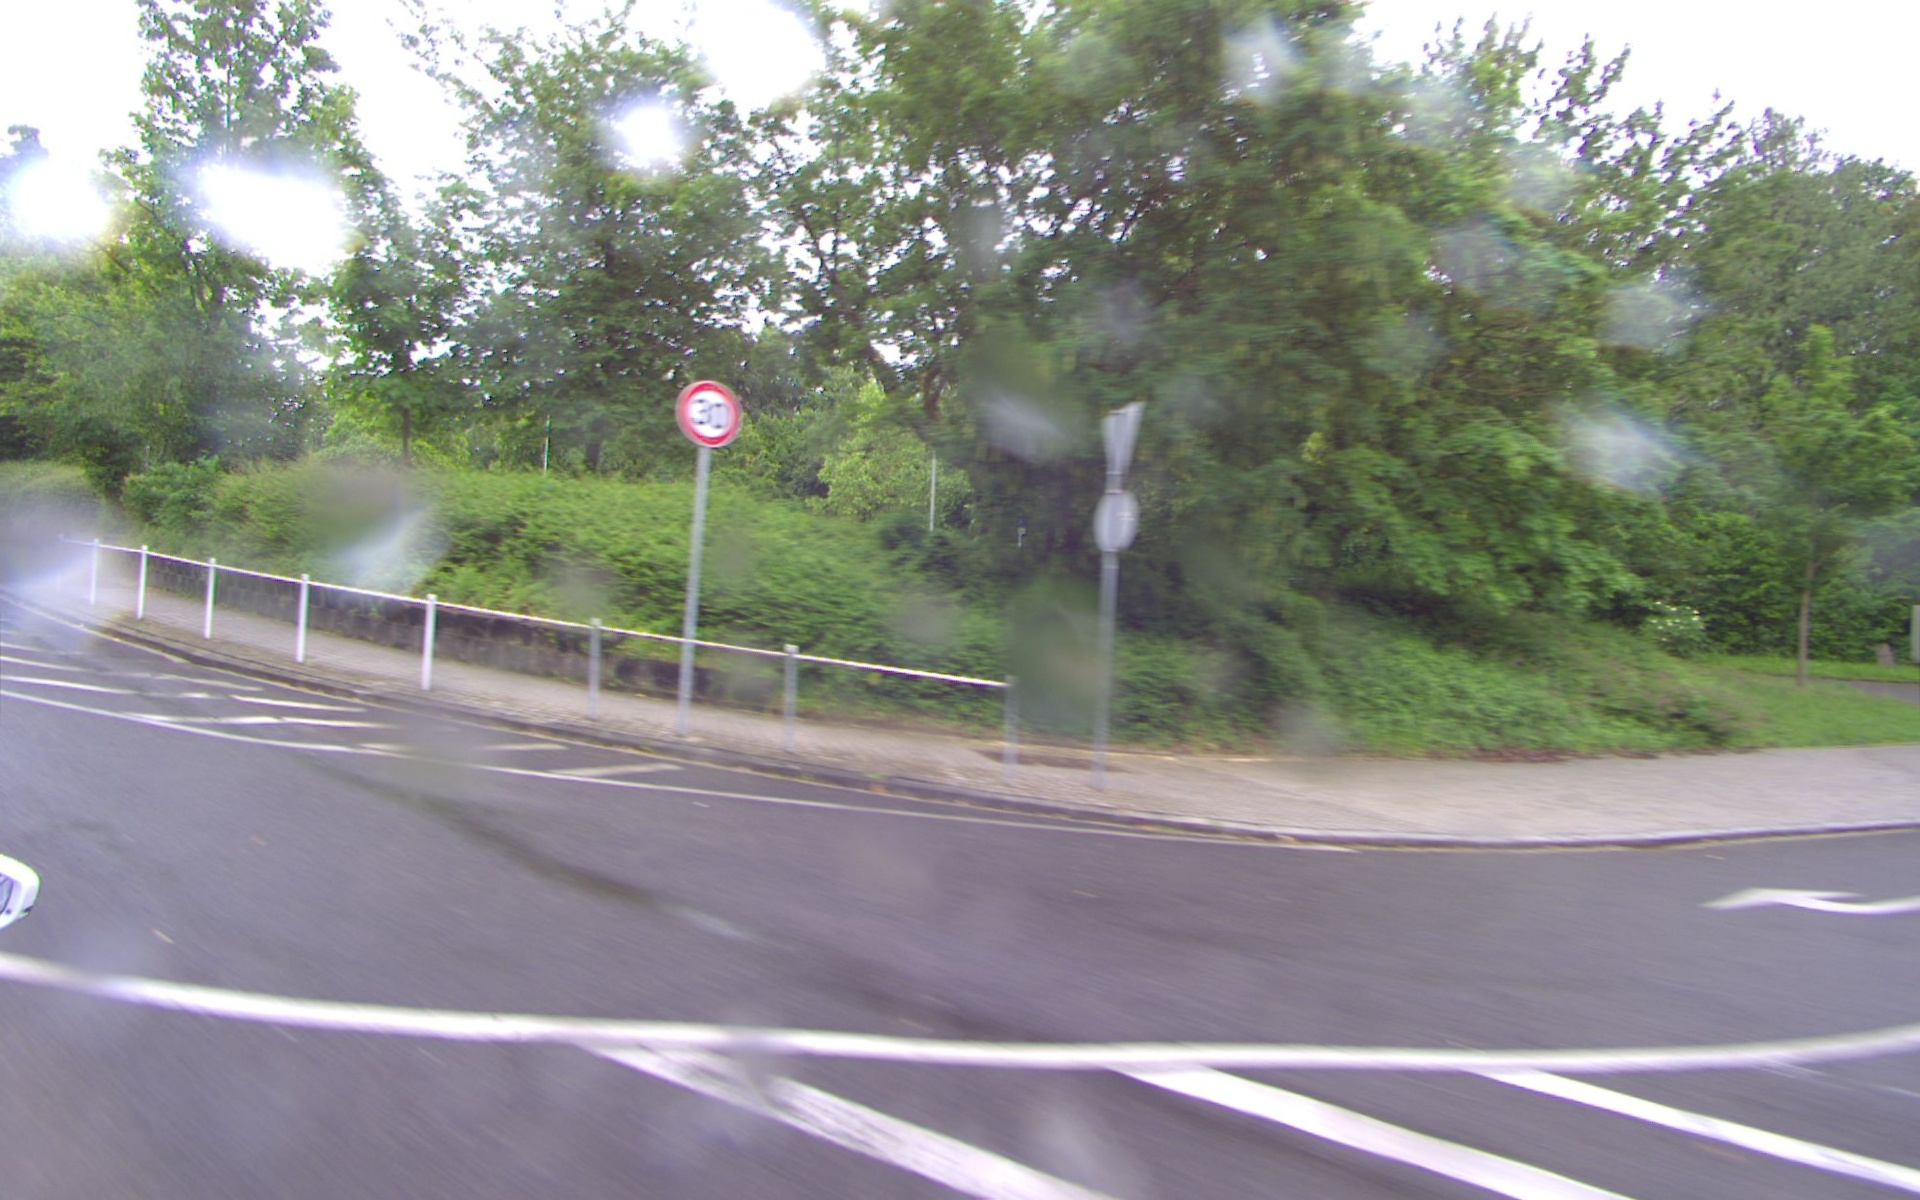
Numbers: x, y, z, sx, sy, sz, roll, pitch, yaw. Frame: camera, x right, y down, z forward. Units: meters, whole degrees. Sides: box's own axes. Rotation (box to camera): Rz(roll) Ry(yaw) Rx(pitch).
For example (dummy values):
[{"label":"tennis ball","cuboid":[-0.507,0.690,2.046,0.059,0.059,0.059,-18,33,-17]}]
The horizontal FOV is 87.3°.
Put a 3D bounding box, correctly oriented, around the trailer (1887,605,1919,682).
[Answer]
[{"label":"trailer","cuboid":[36.165,1.584,35.673,1.962,2.753,5.274,7,-2,9]}]
